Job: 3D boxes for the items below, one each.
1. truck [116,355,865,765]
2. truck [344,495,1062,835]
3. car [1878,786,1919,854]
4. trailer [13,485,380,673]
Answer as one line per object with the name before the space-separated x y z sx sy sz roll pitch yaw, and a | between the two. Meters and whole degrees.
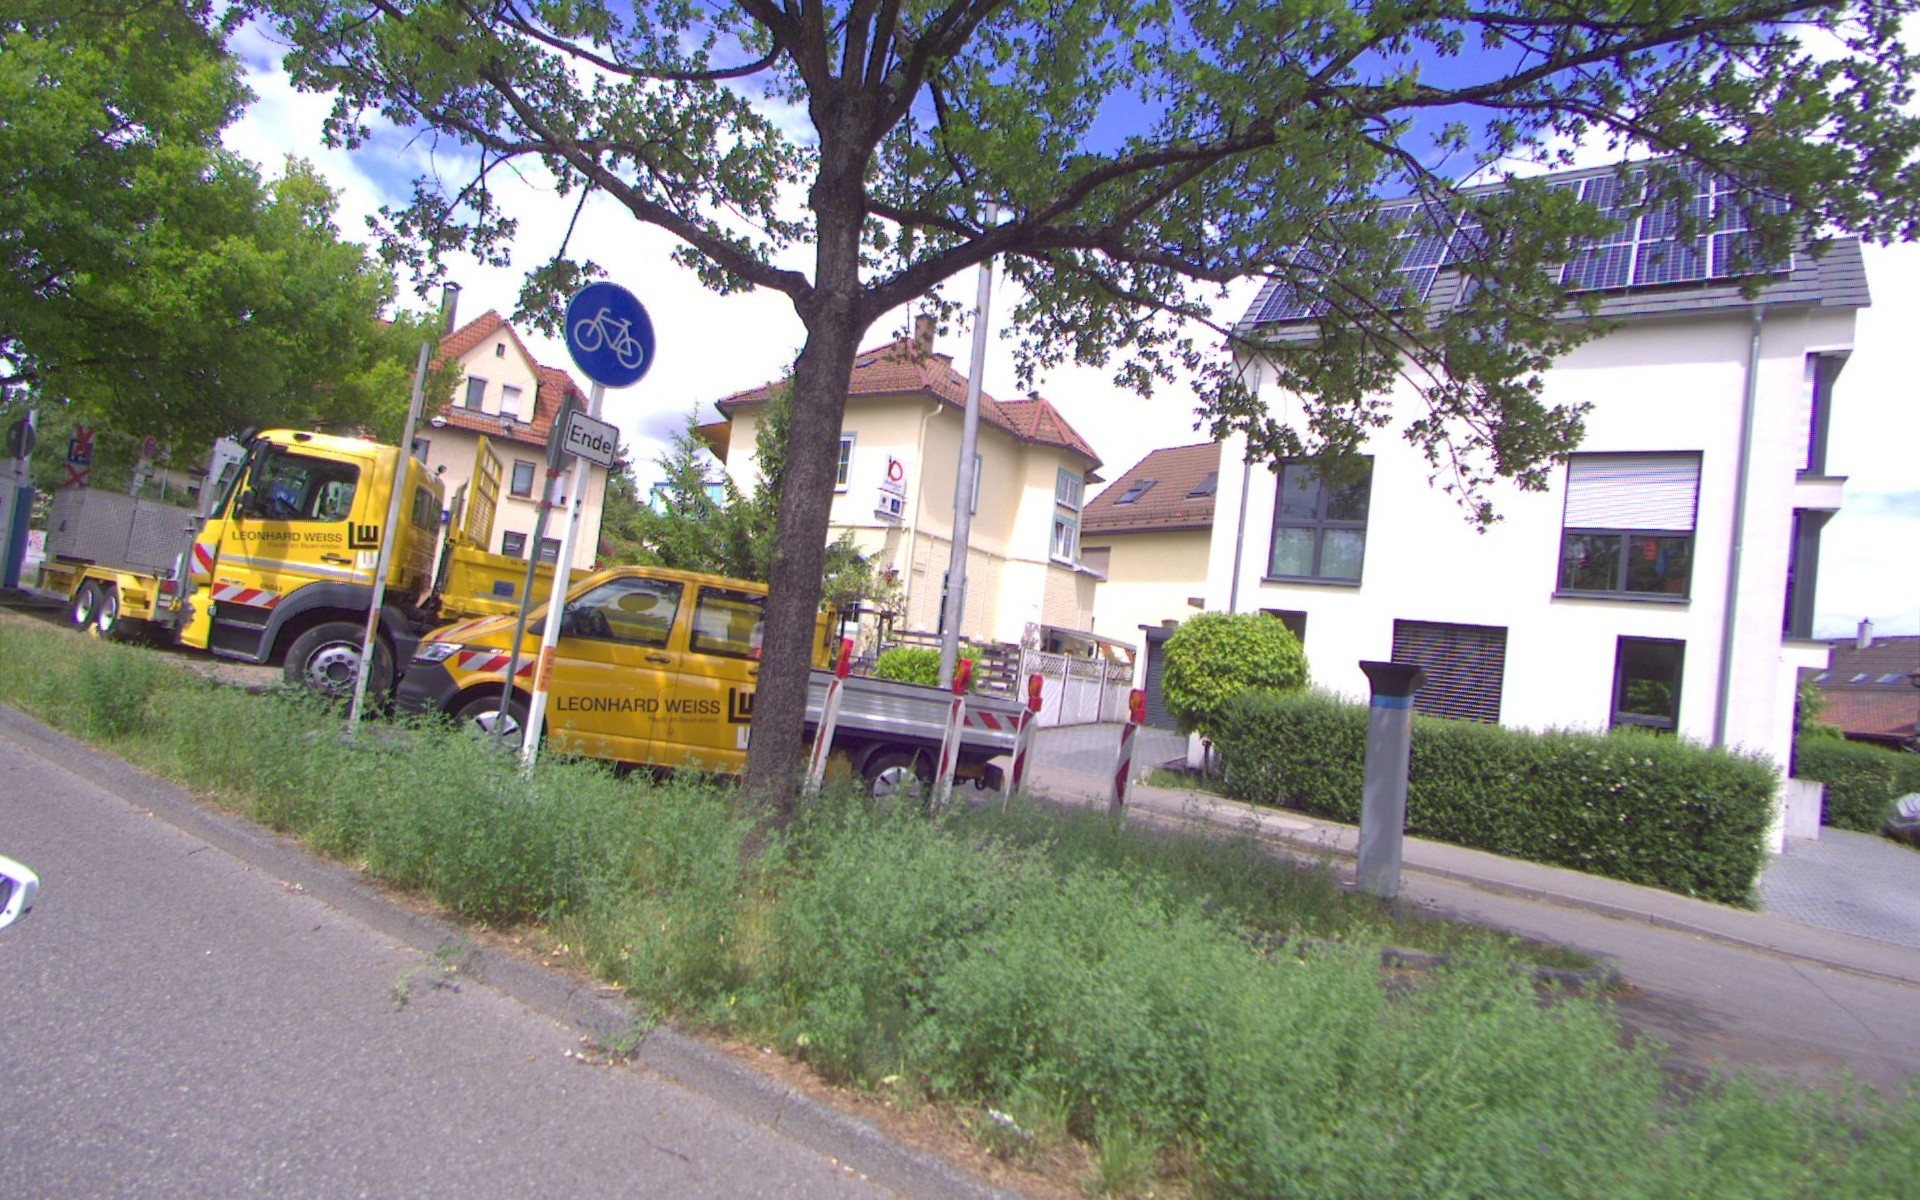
truck | -4.805 -0.139 11.611 6.616 3.037 2.763 10 -6 -19
truck | -2.121 0.711 9.384 5.591 2.033 1.999 10 -6 -14
car | 23.167 5.244 23.467 1.969 1.346 3.993 4 -4 35
trailer | -11.418 -0.355 14.945 5.423 2.053 2.396 6 -4 32
